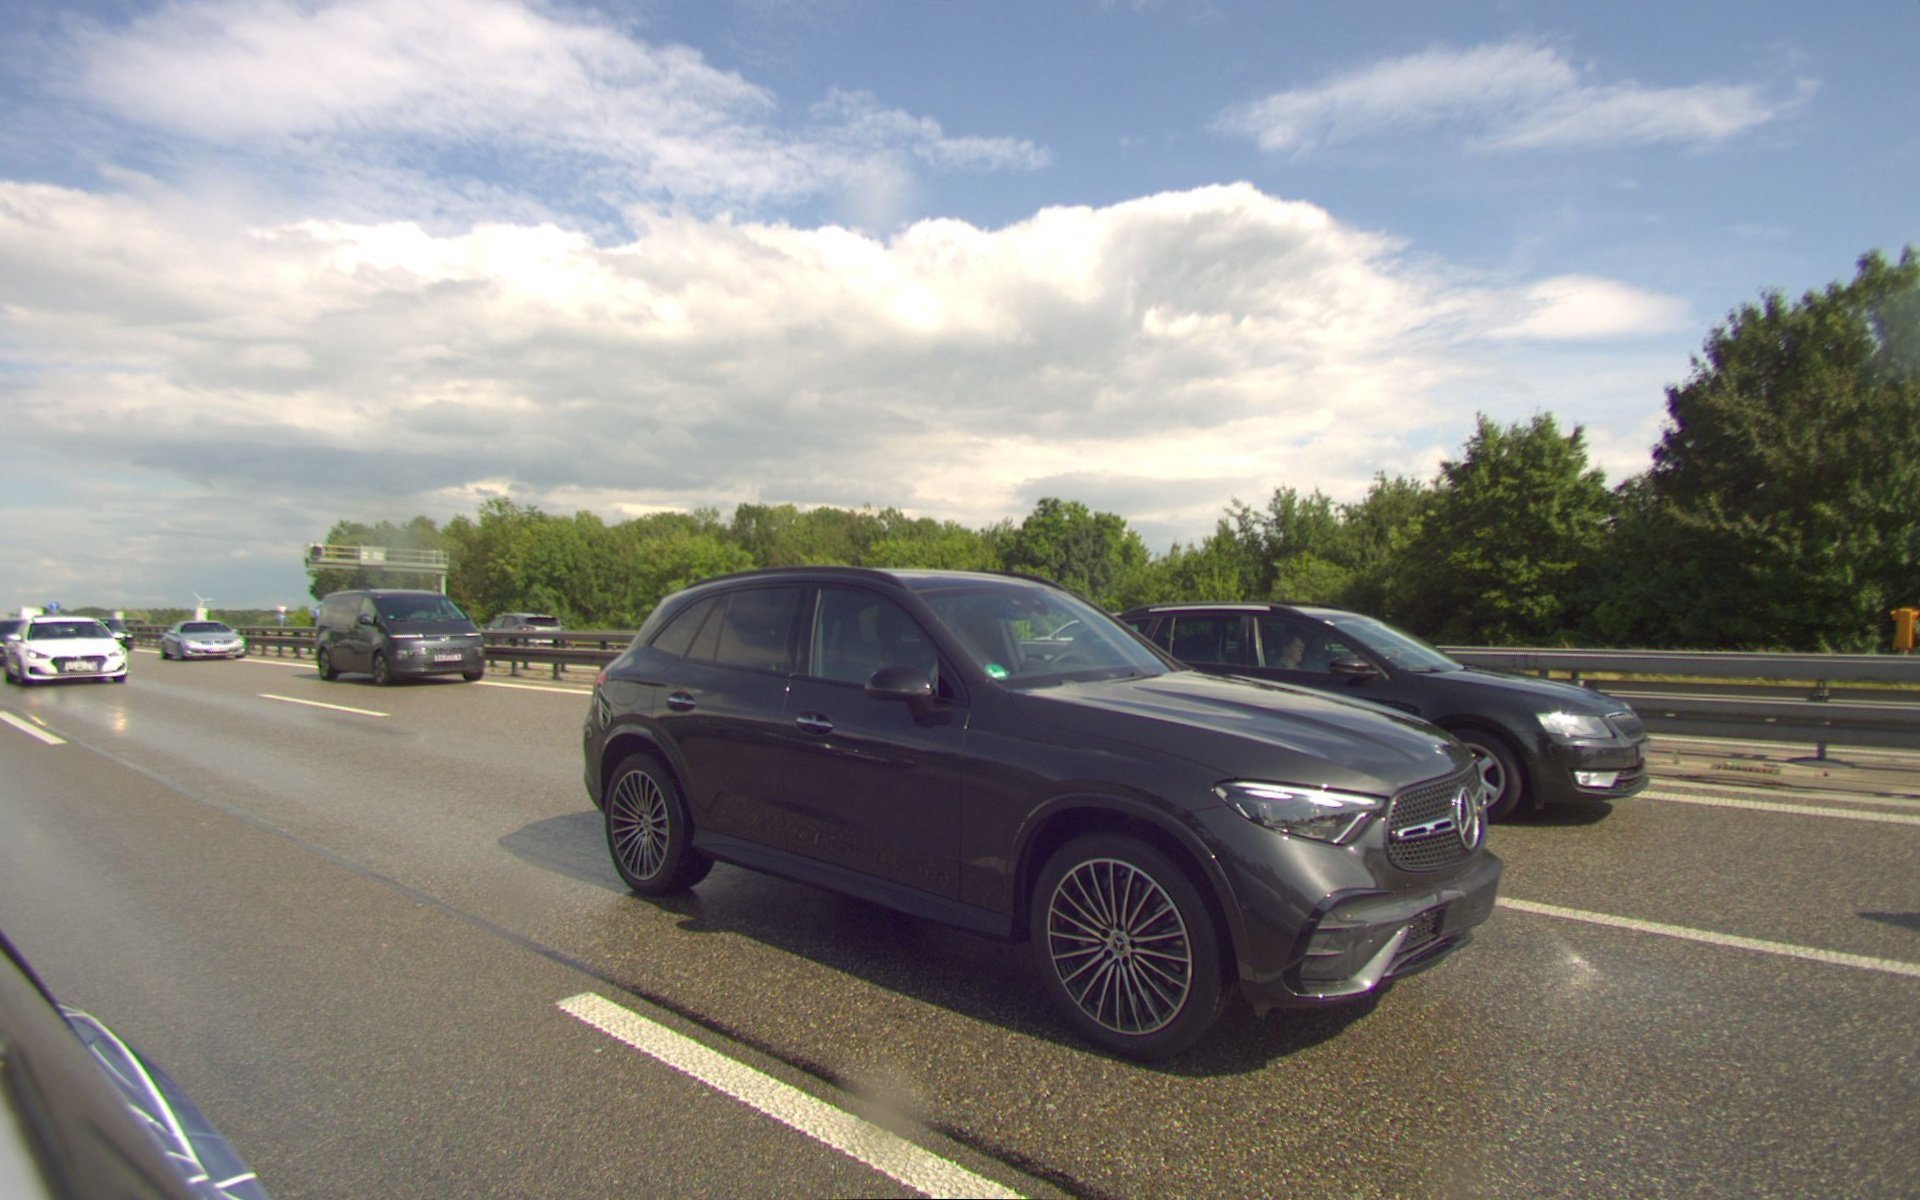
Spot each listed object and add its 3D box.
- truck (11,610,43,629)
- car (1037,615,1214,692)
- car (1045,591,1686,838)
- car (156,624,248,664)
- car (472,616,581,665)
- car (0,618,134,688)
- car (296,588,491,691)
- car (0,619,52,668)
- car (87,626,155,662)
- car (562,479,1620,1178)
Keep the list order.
[{"bbox_3d":[-153.650,3.126,166.620,8.717,3.009,2.886,-1,0,41],"label":"truck"},{"bbox_3d":[3.897,1.219,24.103,3.807,1.663,1.716,-1,-1,40],"label":"car"},{"bbox_3d":[3.008,0.697,8.064,4.369,1.435,1.900,-1,-1,41],"label":"car"},{"bbox_3d":[-24.889,1.411,33.203,3.583,1.198,1.832,-1,-1,43],"label":"car"},{"bbox_3d":[-14.144,1.280,32.983,3.630,1.462,1.826,-1,-1,40],"label":"car"},{"bbox_3d":[-19.848,1.104,22.411,4.239,1.408,1.785,-1,-1,42],"label":"car"},{"bbox_3d":[-12.181,0.784,21.603,5.233,1.932,1.973,-1,-1,41],"label":"car"},{"bbox_3d":[-29.444,1.307,31.267,3.997,1.409,1.577,-1,-1,41],"label":"car"},{"bbox_3d":[-35.479,1.828,42.769,3.998,1.431,1.597,-1,-1,41],"label":"car"},{"bbox_3d":[0.168,0.584,4.694,4.624,1.692,1.857,-1,-1,41],"label":"car"}]
